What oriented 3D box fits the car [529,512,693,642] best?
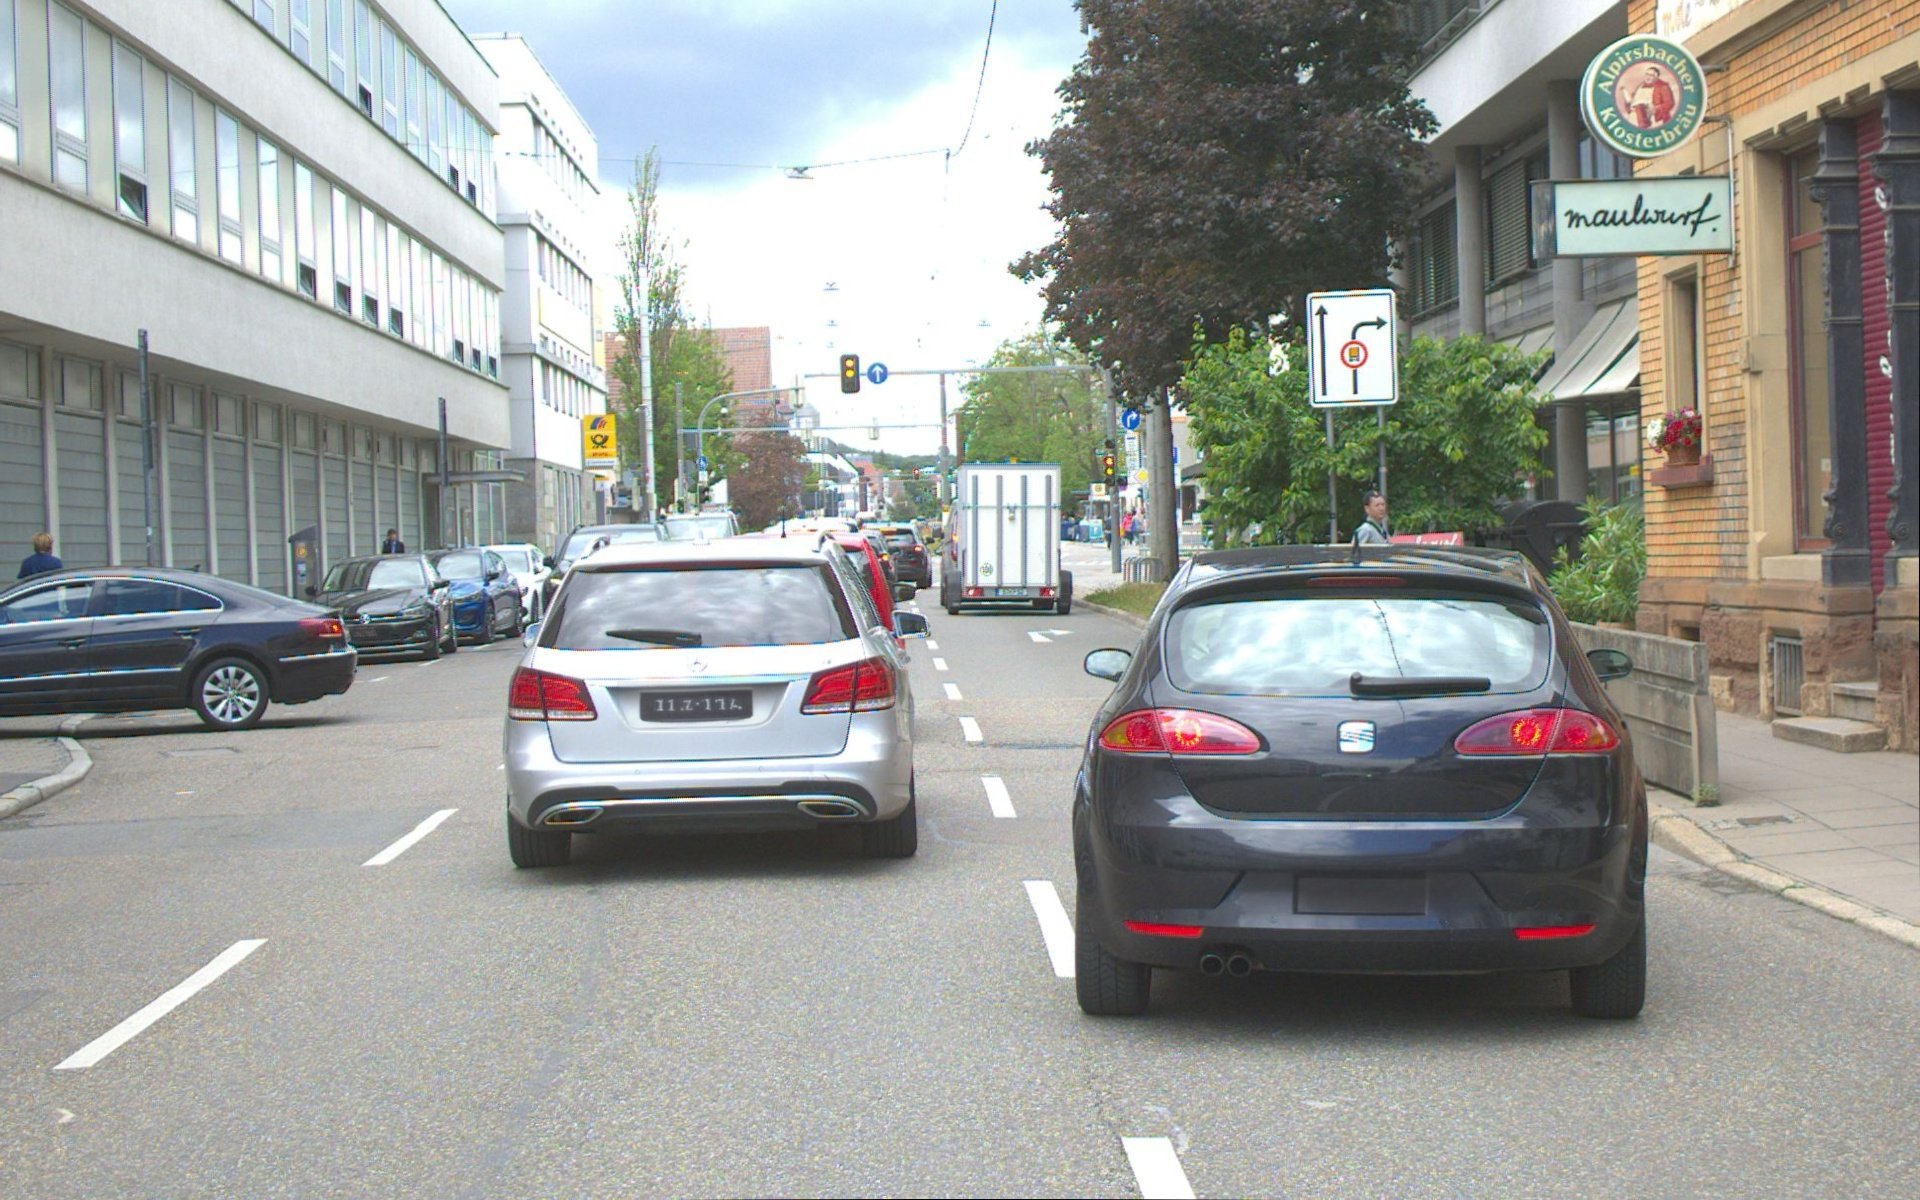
[{"bbox_3d":[-5.089,-0.377,50.640,1.993,1.733,4.554,-3,1,-2],"label":"car"}]

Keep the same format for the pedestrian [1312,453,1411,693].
[{"bbox_3d":[3.426,-0.235,29.374,0.693,2.007,0.677,-2,1,-2],"label":"pedestrian"}]

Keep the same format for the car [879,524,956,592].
[{"bbox_3d":[-1.051,-1.037,83.467,1.803,1.596,3.738,-1,1,-2],"label":"car"}]

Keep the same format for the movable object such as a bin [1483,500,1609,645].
[{"bbox_3d":[6.238,-0.301,36.681,0.943,1.465,1.446,-3,1,-3],"label":"movable object such as a bin"}]

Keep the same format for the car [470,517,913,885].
[{"bbox_3d":[-1.180,0.379,16.264,1.803,1.487,3.738,-2,1,-2],"label":"car"}]

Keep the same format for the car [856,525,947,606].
[{"bbox_3d":[-1.230,-0.738,70.679,1.803,1.596,3.738,-1,1,-2],"label":"car"}]

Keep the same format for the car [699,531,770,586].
[{"bbox_3d":[-6.314,-1.187,96.700,1.769,1.408,4.175,-3,1,-2],"label":"car"}]

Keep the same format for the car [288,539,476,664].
[{"bbox_3d":[-7.832,-0.015,46.925,1.912,1.511,4.175,-3,1,-2],"label":"car"}]

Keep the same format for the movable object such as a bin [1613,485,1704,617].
[{"bbox_3d":[8.294,-0.579,40.845,0.821,1.499,0.732,-4,0,0],"label":"movable object such as a bin"}]

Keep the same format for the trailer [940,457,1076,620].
[{"bbox_3d":[0.764,-1.060,58.558,1.993,2.598,5.350,-2,1,-2],"label":"trailer"}]

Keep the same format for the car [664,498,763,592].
[{"bbox_3d":[-5.681,-1.294,79.680,1.993,2.006,4.903,-3,1,-2],"label":"car"}]

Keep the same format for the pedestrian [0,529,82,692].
[{"bbox_3d":[-10.179,0.110,38.098,0.642,1.763,0.810,-2,1,-2],"label":"pedestrian"}]

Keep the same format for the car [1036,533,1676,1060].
[{"bbox_3d":[1.291,0.527,11.639,1.766,1.428,3.828,-1,1,5],"label":"car"}]

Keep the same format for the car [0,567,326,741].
[{"bbox_3d":[-7.755,0.469,29.730,4.397,1.361,1.786,-2,1,-9],"label":"car"}]

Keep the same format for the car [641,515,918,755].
[{"bbox_3d":[-1.260,0.188,24.814,1.803,1.547,3.738,-2,1,-2],"label":"car"}]

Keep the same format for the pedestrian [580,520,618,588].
[{"bbox_3d":[-10.072,-1.275,95.948,0.918,1.862,0.783,-2,1,-2],"label":"pedestrian"}]

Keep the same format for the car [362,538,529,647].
[{"bbox_3d":[-7.817,-0.147,52.567,1.993,1.511,4.175,-2,1,-2],"label":"car"}]

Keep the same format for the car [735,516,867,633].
[{"bbox_3d":[-2.248,-0.396,49.274,1.803,1.596,3.738,-1,1,-2],"label":"car"}]

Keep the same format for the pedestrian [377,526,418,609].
[{"bbox_3d":[-11.181,-0.650,68.331,0.656,1.617,0.681,-2,1,0],"label":"pedestrian"}]

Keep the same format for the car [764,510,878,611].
[{"bbox_3d":[-2.288,-0.679,57.064,1.803,1.596,3.738,-1,1,-2],"label":"car"}]

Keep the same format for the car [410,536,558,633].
[{"bbox_3d":[-8.023,-0.288,58.268,1.993,1.511,4.175,-2,1,-2],"label":"car"}]

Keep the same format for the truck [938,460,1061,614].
[{"bbox_3d":[0.674,-1.131,61.330,1.993,2.598,3.261,-2,1,-2],"label":"truck"}]
